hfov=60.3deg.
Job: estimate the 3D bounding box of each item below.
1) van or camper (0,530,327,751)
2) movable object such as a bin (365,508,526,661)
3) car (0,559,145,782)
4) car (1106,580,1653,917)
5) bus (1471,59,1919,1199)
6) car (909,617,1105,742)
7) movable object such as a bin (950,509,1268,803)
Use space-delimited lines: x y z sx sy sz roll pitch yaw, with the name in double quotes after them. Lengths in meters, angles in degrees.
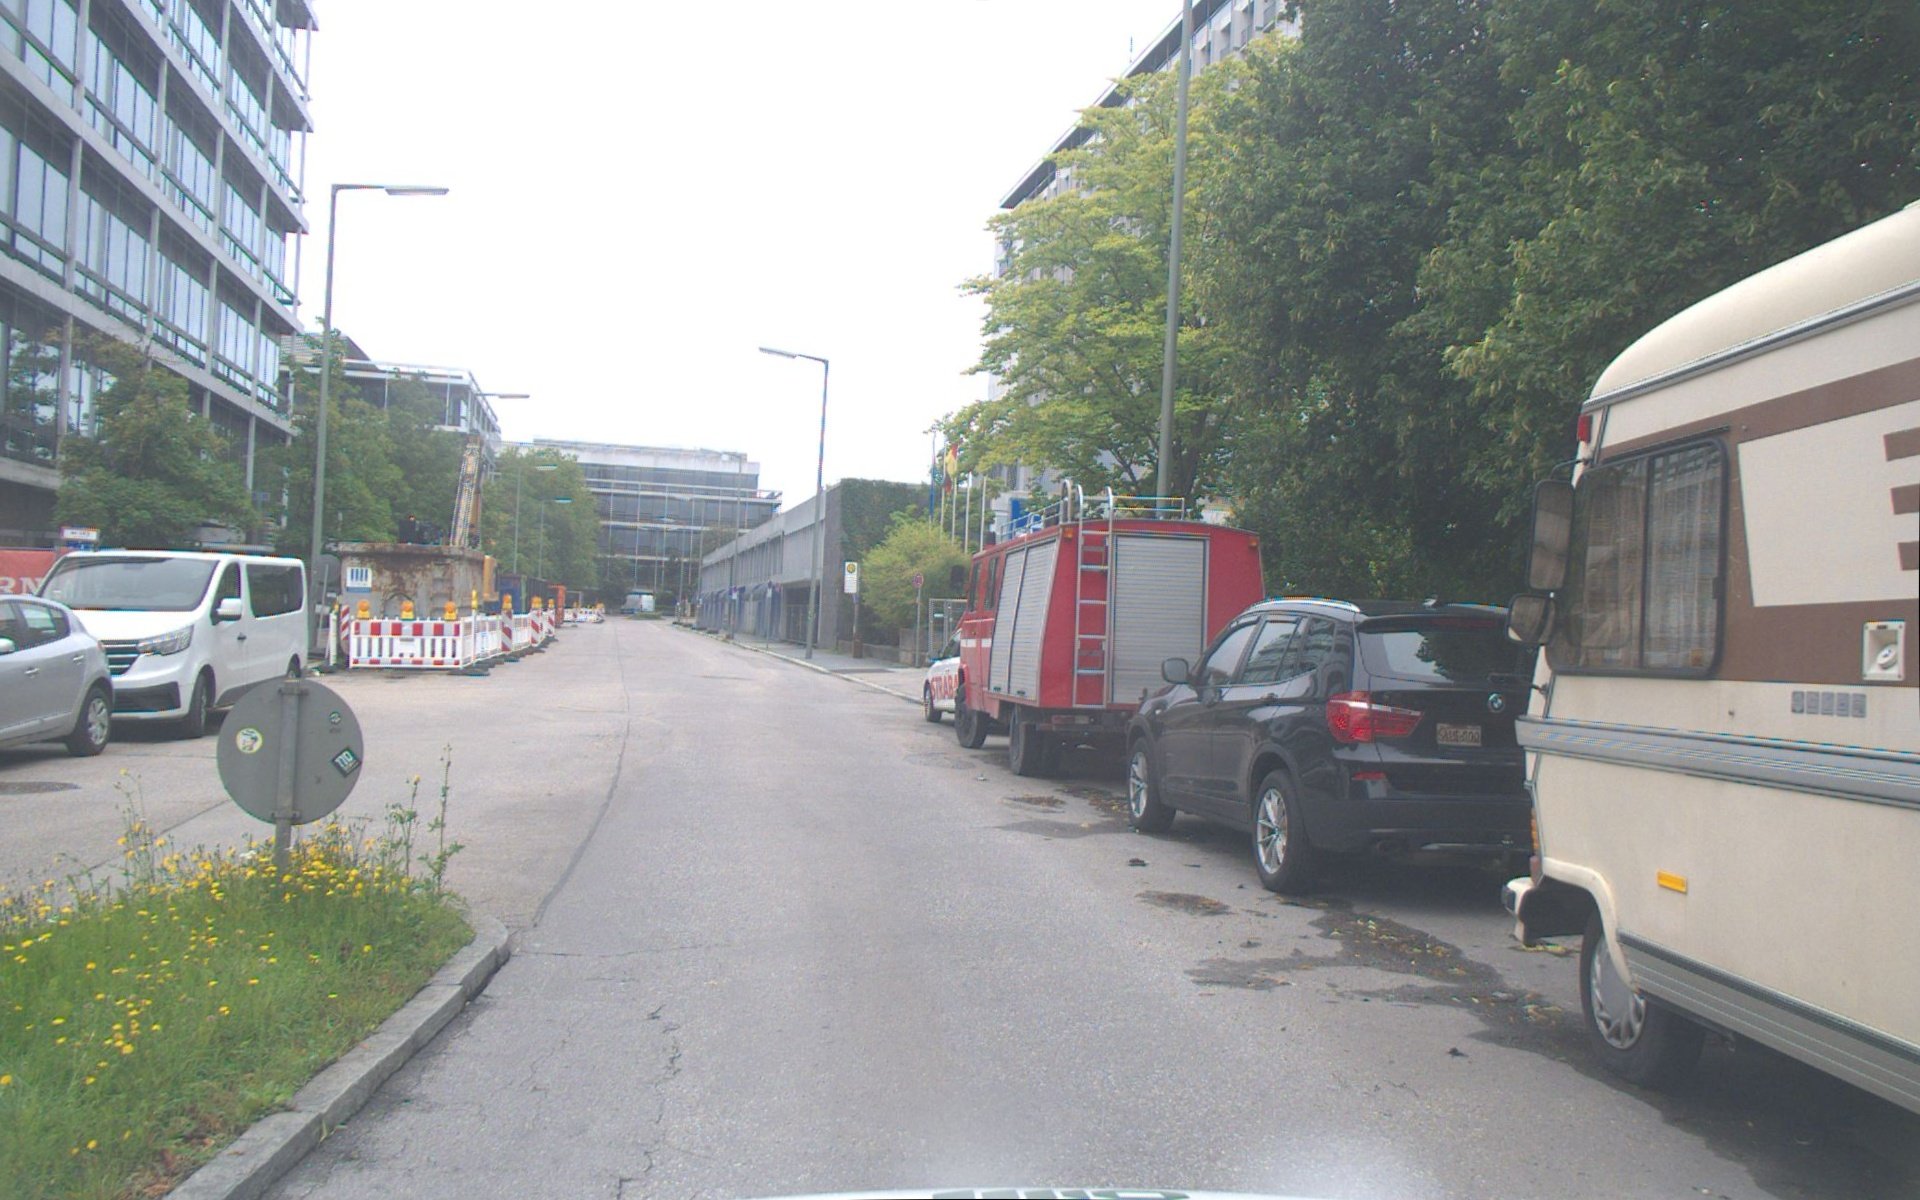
-8.873 0.385 18.534 1.956 2.049 5.368 3 0 -7 "van or camper"
-14.400 -0.400 47.030 3.183 3.781 8.984 3 0 -11 "movable object such as a bin"
-8.522 0.510 13.326 1.955 1.758 4.445 3 0 -5 "car"
2.384 0.789 10.716 1.744 1.678 4.450 3 -1 -10 "car"
3.285 0.182 3.586 2.269 2.746 5.731 3 -1 -3 "bus"
0.576 1.096 24.186 1.746 1.577 4.241 3 -1 -14 "car"
1.311 0.525 17.666 2.064 2.501 6.177 3 -1 -7 "movable object such as a bin"
